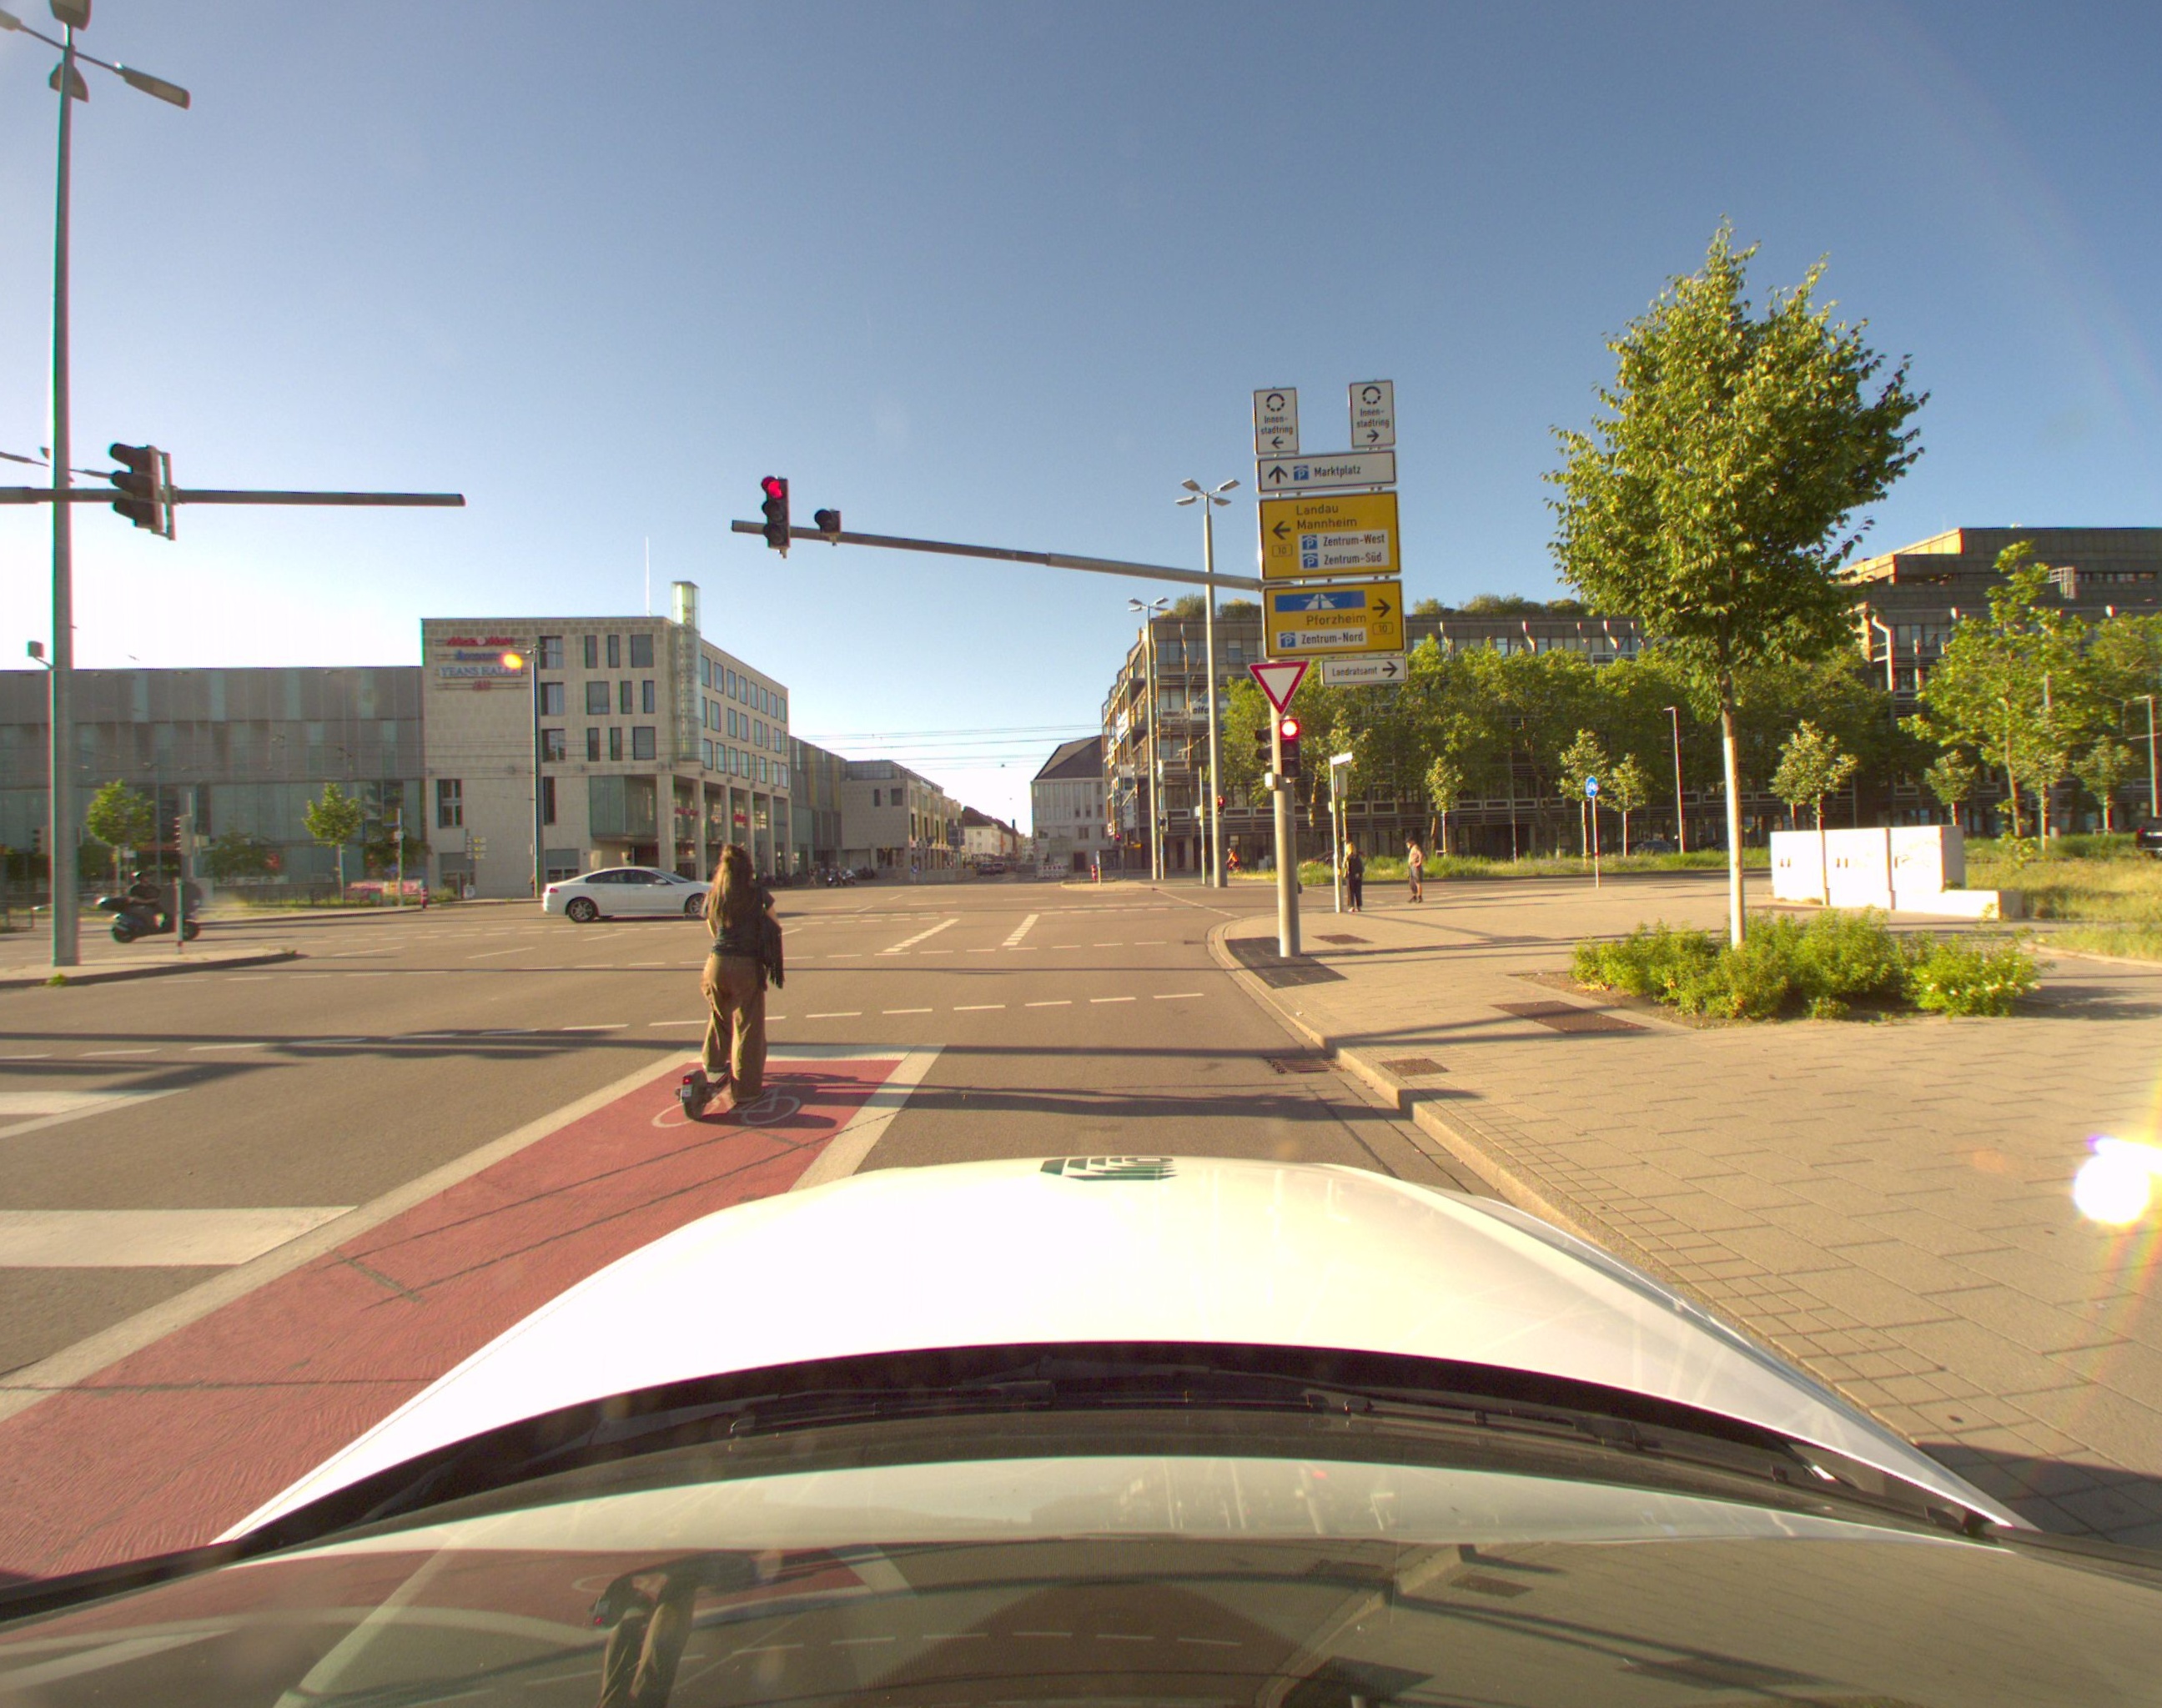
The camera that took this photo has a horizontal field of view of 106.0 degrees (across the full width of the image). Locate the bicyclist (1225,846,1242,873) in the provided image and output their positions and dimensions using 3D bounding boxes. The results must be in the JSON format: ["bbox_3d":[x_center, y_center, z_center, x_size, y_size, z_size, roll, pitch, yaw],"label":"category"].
[{"bbox_3d":[8.825,0.311,47.069,0.820,1.474,0.652,-2,0,-2],"label":"bicyclist"}]

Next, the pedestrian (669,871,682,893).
[{"bbox_3d":[-30.611,2.106,61.431,0.590,1.646,0.629,-2,0,1],"label":"pedestrian"}]

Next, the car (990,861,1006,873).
[{"bbox_3d":[-11.015,1.764,108.525,1.652,1.458,3.543,-2,0,2],"label":"car"}]

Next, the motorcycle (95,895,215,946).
[{"bbox_3d":[-22.378,1.598,19.708,1.952,1.100,0.648,-2,0,-6],"label":"motorcycle"}]

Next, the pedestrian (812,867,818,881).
[{"bbox_3d":[-31.952,2.395,97.964,0.465,1.729,0.524,-1,-1,40],"label":"pedestrian"}]

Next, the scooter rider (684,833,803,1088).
[{"bbox_3d":[-2.142,0.647,5.208,0.552,1.530,0.448,-2,0,-7],"label":"scooter rider"}]

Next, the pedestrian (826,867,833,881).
[{"bbox_3d":[-30.011,2.374,97.206,0.465,1.729,0.699,-1,-1,40],"label":"pedestrian"}]

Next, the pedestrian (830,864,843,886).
[{"bbox_3d":[-19.137,1.655,63.737,0.697,1.688,0.620,-2,0,2],"label":"pedestrian"}]

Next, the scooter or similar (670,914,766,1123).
[{"bbox_3d":[-2.215,0.959,5.030,0.306,1.107,0.835,-2,0,-9],"label":"scooter or similar"}]

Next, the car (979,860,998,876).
[{"bbox_3d":[-10.203,1.555,89.996,1.816,1.684,3.994,-2,0,-4],"label":"car"}]

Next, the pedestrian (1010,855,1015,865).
[{"bbox_3d":[-13.900,1.211,165.260,0.907,1.965,0.823,0,-1,1],"label":"pedestrian"}]

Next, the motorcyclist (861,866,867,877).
[{"bbox_3d":[-26.397,2.112,99.144,0.627,1.406,0.661,0,-1,-7],"label":"motorcyclist"}]

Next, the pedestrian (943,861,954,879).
[{"bbox_3d":[-13.374,1.570,82.286,0.896,1.782,0.809,-2,0,1],"label":"pedestrian"}]

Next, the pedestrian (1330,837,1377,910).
[{"bbox_3d":[6.304,0.440,18.881,0.763,1.614,0.874,-2,0,0],"label":"pedestrian"}]

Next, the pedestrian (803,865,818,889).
[{"bbox_3d":[-21.612,1.849,65.151,0.935,1.864,0.541,-2,0,18],"label":"pedestrian"}]

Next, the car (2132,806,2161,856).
[{"bbox_3d":[42.809,-0.948,30.777,4.820,1.864,1.878,-2,0,-12],"label":"car"}]

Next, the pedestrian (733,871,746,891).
[{"bbox_3d":[-28.758,2.267,68.619,0.770,1.638,0.629,-2,0,22],"label":"pedestrian"}]

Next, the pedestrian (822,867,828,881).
[{"bbox_3d":[-31.241,2.401,99.381,0.465,1.729,0.632,-1,-1,30],"label":"pedestrian"}]

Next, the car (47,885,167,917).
[{"bbox_3d":[-57.881,2.781,48.464,4.829,1.684,1.825,-2,0,0],"label":"car"}]

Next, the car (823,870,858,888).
[{"bbox_3d":[-20.769,2.141,70.503,1.670,1.357,4.021,-2,0,1],"label":"car"}]

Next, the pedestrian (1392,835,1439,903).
[{"bbox_3d":[8.639,0.375,21.064,0.869,1.706,0.768,-2,0,0],"label":"pedestrian"}]

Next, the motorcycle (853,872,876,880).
[{"bbox_3d":[-26.307,2.671,99.013,2.600,0.993,1.113,0,-1,-8],"label":"motorcycle"}]

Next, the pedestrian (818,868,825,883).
[{"bbox_3d":[-30.711,2.532,96.479,0.465,1.729,0.632,-1,-1,35],"label":"pedestrian"}]

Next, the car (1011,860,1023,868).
[{"bbox_3d":[-11.463,1.813,146.320,1.652,1.458,3.543,-2,0,2],"label":"car"}]

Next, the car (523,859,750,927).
[{"bbox_3d":[-12.075,1.011,22.522,5.088,1.564,1.991,-2,0,-13],"label":"car"}]

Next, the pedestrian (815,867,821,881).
[{"bbox_3d":[-32.016,2.406,99.304,0.465,1.729,0.524,-1,-1,40],"label":"pedestrian"}]

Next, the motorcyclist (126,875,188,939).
[{"bbox_3d":[-22.396,1.280,19.745,0.748,1.479,0.598,-2,0,-6],"label":"motorcyclist"}]

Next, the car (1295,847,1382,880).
[{"bbox_3d":[14.580,0.531,46.219,4.287,1.684,1.820,-2,0,-9],"label":"car"}]

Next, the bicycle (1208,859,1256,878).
[{"bbox_3d":[8.724,0.823,47.053,2.561,0.975,1.047,-2,0,-1],"label":"bicycle"}]
